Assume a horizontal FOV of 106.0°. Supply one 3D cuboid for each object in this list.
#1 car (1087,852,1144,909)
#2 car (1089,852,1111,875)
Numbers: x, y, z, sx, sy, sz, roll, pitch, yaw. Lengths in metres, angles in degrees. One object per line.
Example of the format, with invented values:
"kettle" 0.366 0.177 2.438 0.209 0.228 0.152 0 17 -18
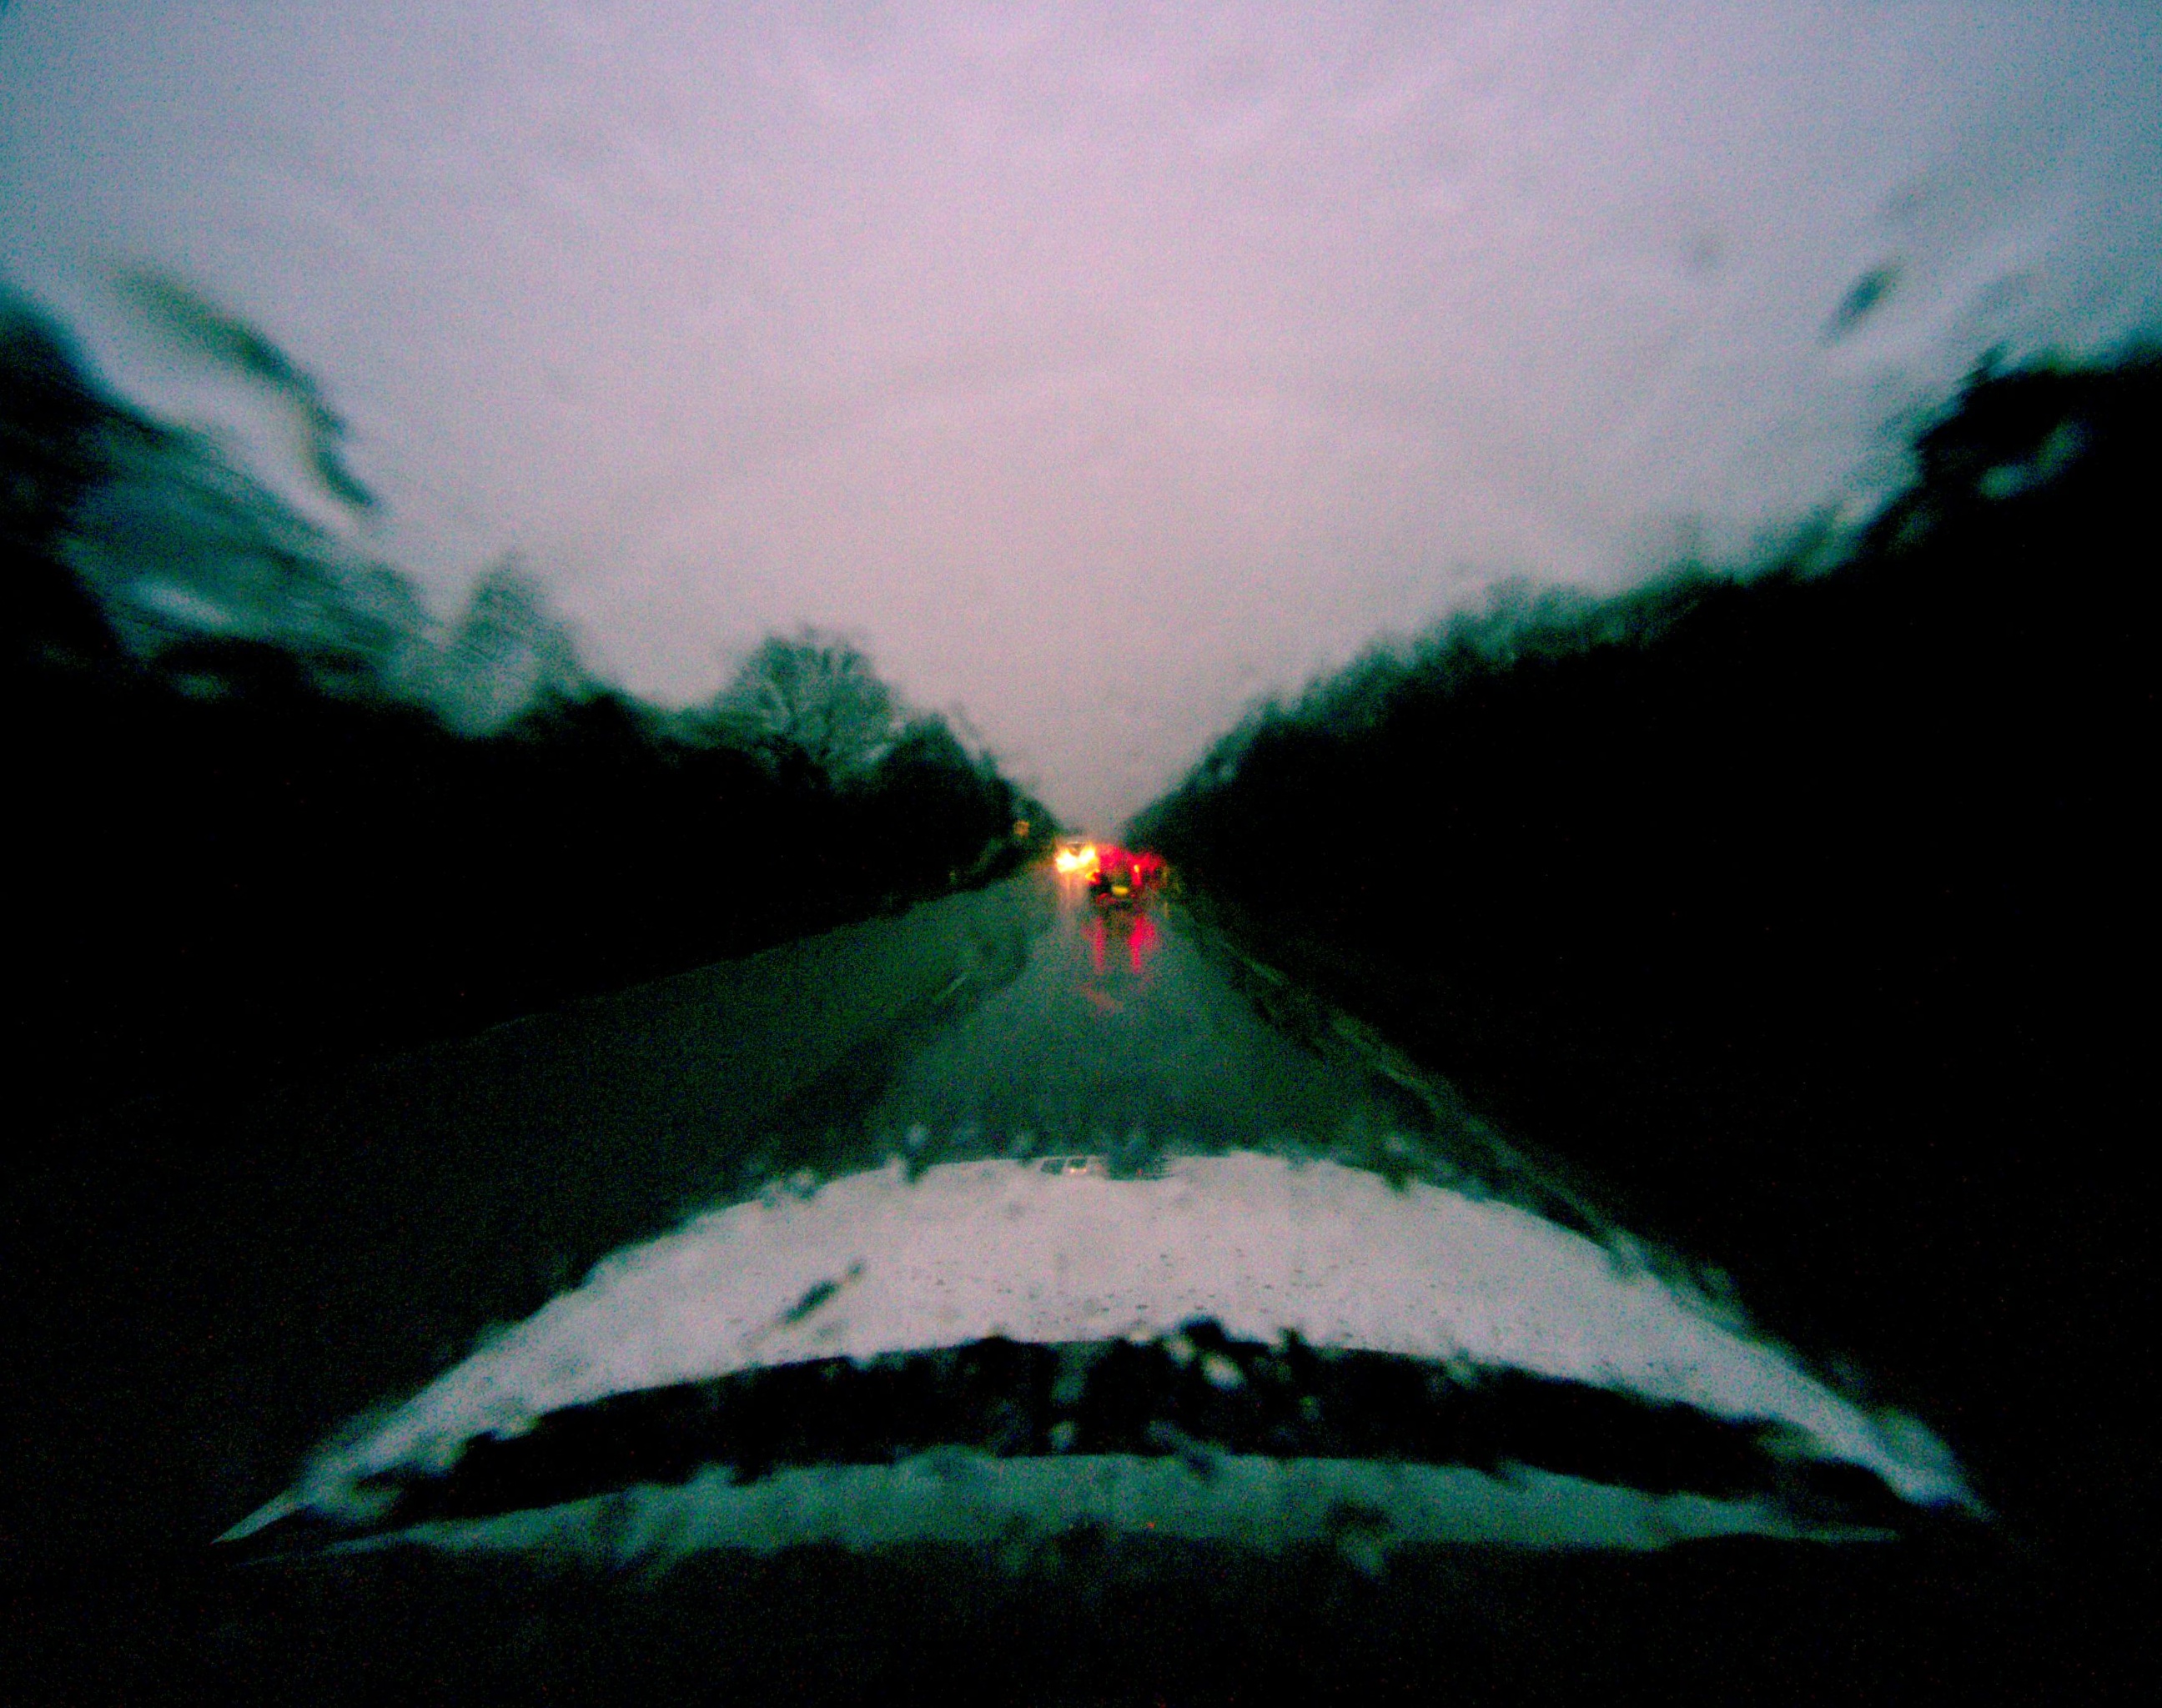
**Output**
"car" 1.076 0.787 25.753 1.642 1.672 3.515 -1 0 2
"car" 1.516 0.772 66.147 1.727 1.779 4.001 -1 0 1
